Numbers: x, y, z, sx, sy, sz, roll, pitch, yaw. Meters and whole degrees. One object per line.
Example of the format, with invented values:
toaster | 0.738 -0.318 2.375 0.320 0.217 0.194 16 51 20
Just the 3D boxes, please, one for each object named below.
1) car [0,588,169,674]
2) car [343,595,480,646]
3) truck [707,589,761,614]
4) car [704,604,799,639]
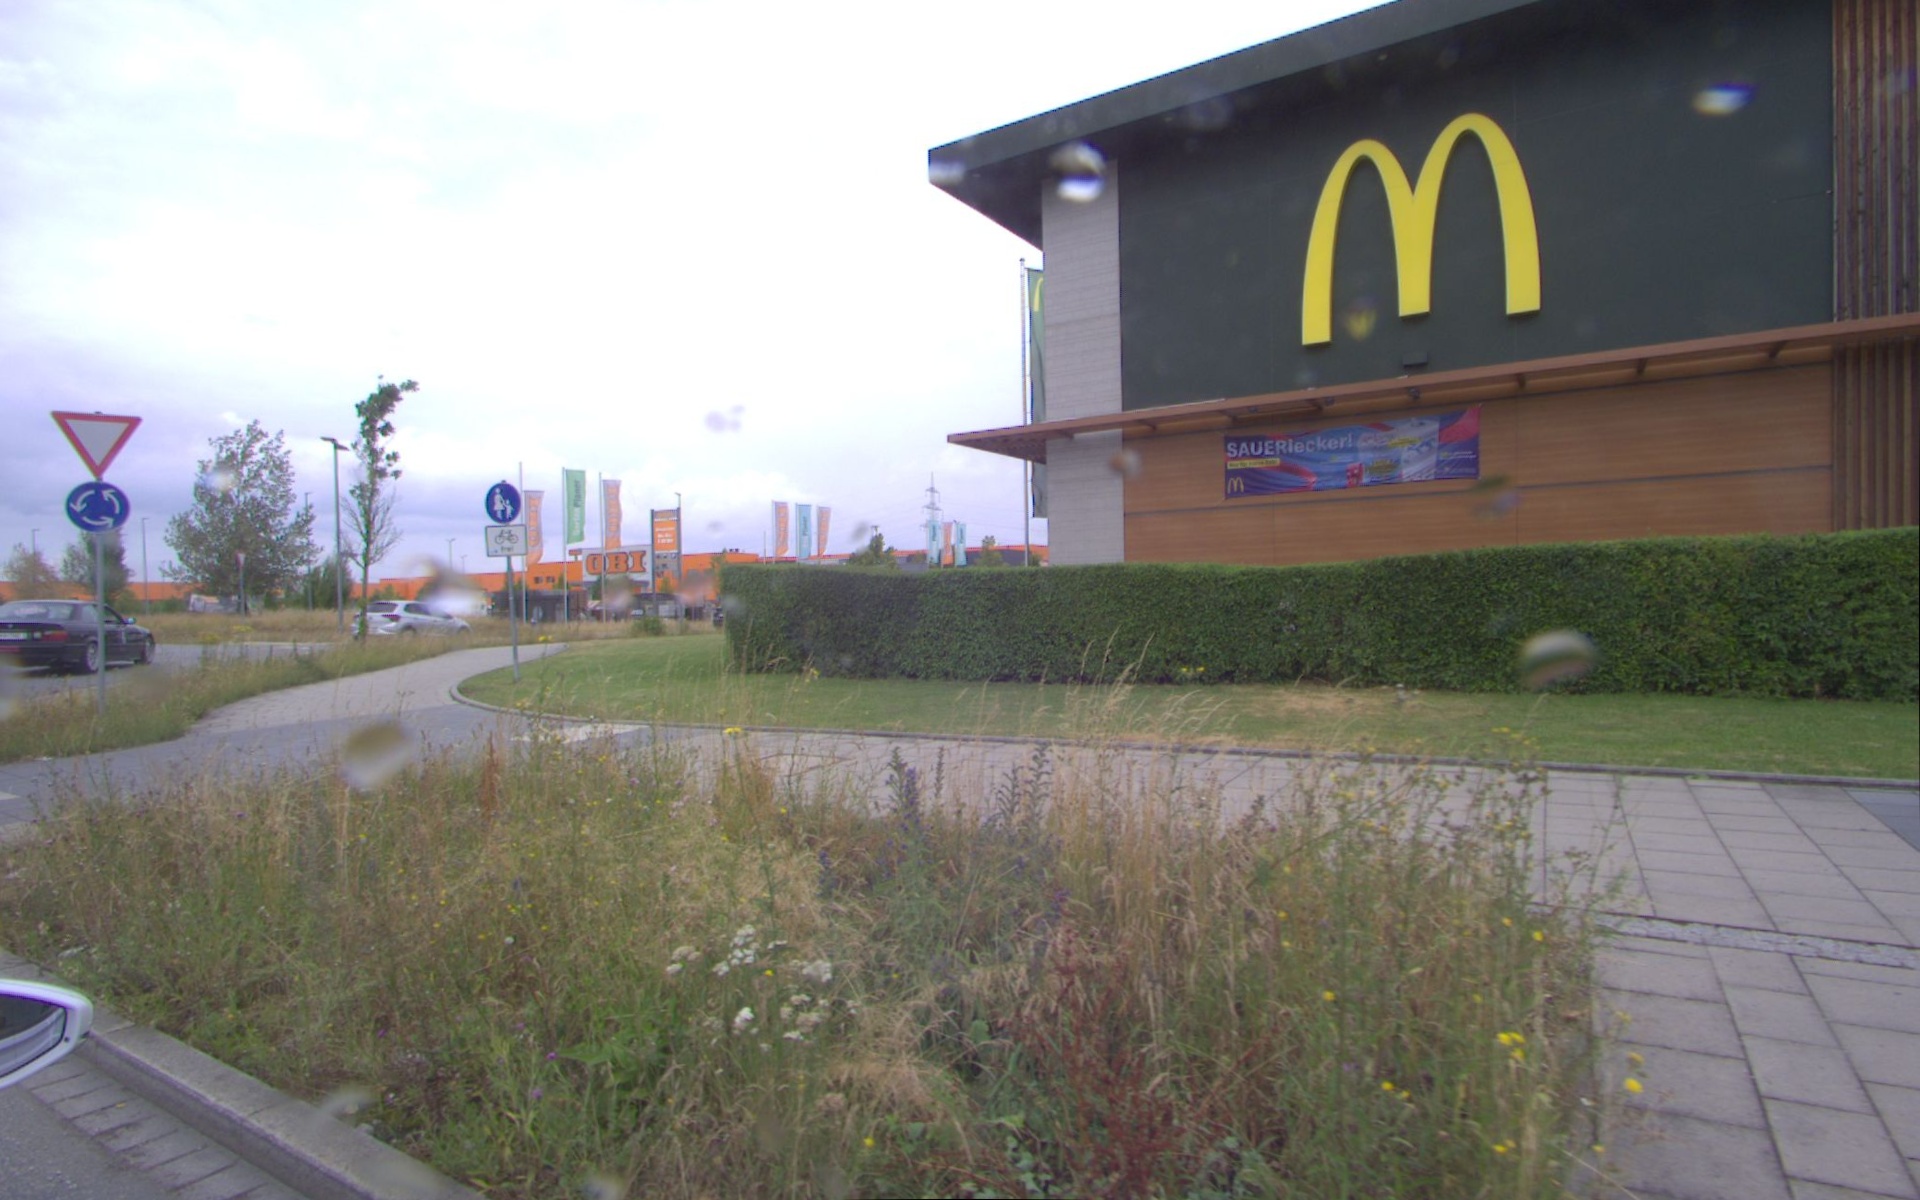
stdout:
car | -16.854 0.519 18.978 1.714 1.422 3.986 2 0 -20
car | -17.524 0.607 32.219 1.779 1.484 3.998 2 1 9
truck | -24.847 0.167 110.249 5.461 2.515 2.433 -2 -2 25
car | -10.376 1.016 50.148 1.917 1.519 4.746 2 2 33
